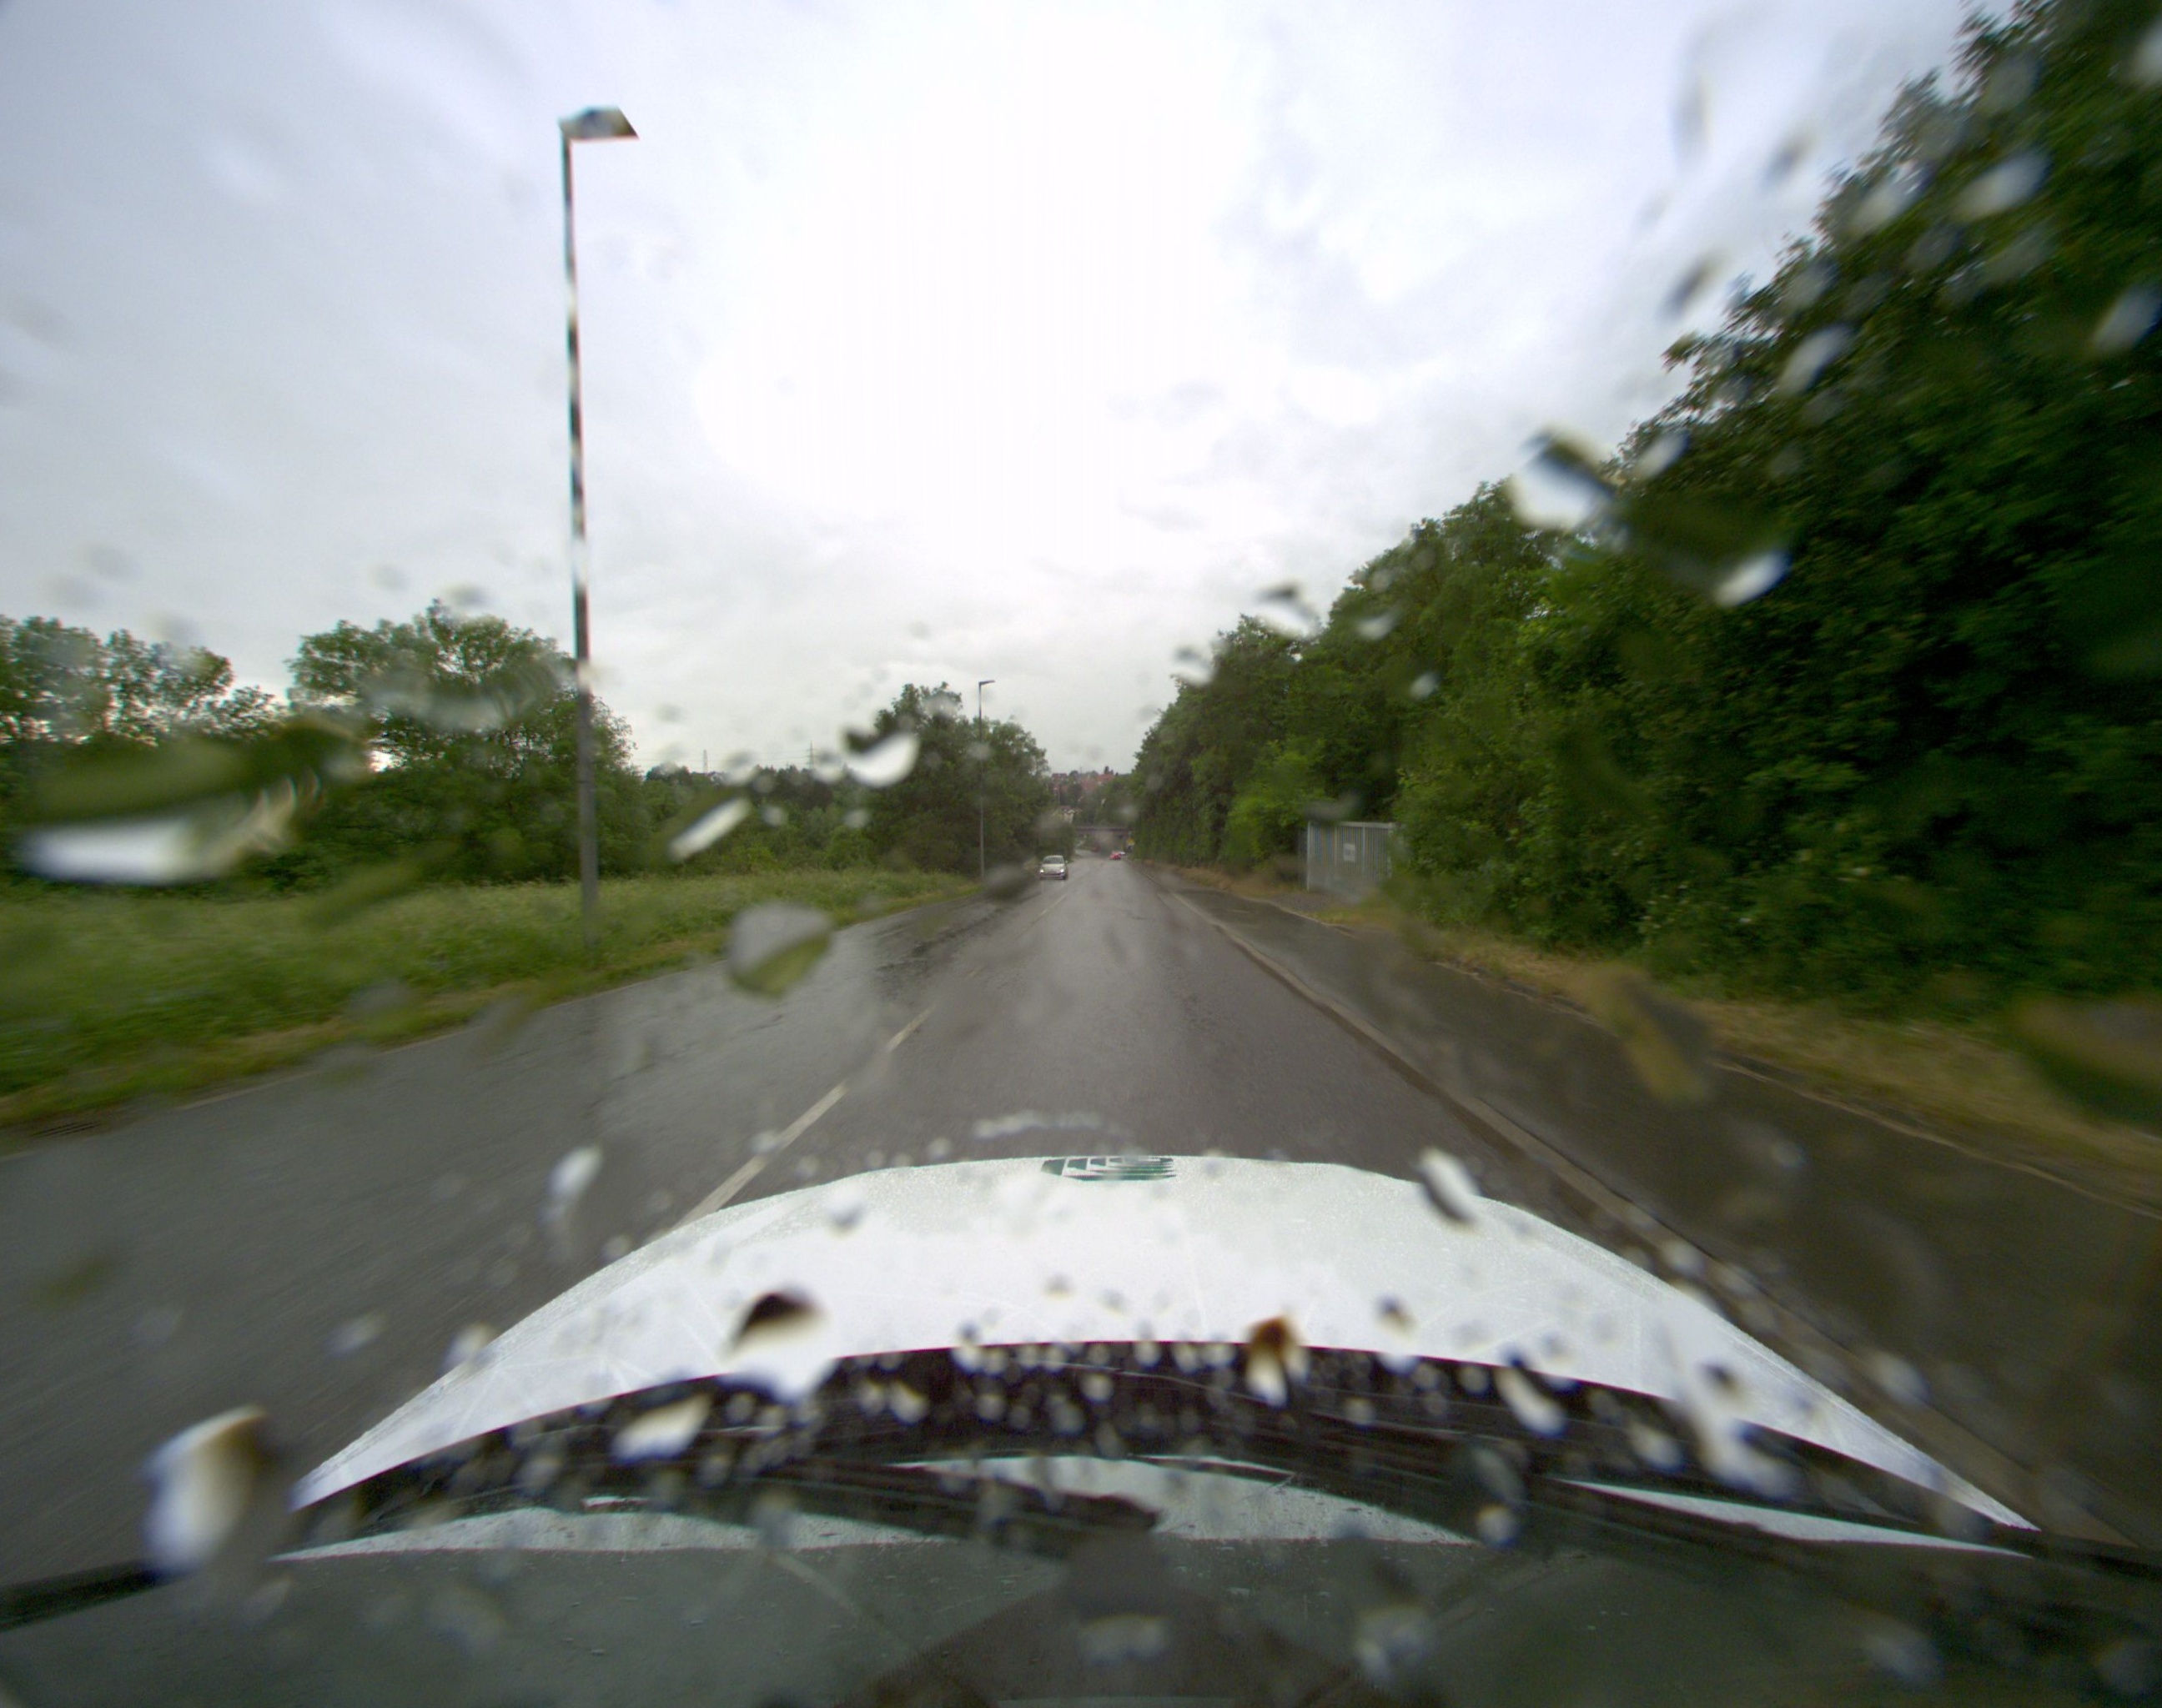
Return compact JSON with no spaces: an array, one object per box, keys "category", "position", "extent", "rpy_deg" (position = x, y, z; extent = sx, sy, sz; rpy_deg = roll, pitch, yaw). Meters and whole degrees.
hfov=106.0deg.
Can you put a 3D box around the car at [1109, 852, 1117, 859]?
[{"category":"car","position":[7.795,0.378,197.598],"extent":[1.761,1.563,4.003],"rpy_deg":[-2,0,3]}]

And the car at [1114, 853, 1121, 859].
[{"category":"car","position":[8.558,0.502,190.753],"extent":[1.761,1.380,4.003],"rpy_deg":[-2,0,3]}]

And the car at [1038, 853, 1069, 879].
[{"category":"car","position":[-1.695,0.741,51.428],"extent":[1.632,1.488,3.456],"rpy_deg":[-2,0,2]}]
